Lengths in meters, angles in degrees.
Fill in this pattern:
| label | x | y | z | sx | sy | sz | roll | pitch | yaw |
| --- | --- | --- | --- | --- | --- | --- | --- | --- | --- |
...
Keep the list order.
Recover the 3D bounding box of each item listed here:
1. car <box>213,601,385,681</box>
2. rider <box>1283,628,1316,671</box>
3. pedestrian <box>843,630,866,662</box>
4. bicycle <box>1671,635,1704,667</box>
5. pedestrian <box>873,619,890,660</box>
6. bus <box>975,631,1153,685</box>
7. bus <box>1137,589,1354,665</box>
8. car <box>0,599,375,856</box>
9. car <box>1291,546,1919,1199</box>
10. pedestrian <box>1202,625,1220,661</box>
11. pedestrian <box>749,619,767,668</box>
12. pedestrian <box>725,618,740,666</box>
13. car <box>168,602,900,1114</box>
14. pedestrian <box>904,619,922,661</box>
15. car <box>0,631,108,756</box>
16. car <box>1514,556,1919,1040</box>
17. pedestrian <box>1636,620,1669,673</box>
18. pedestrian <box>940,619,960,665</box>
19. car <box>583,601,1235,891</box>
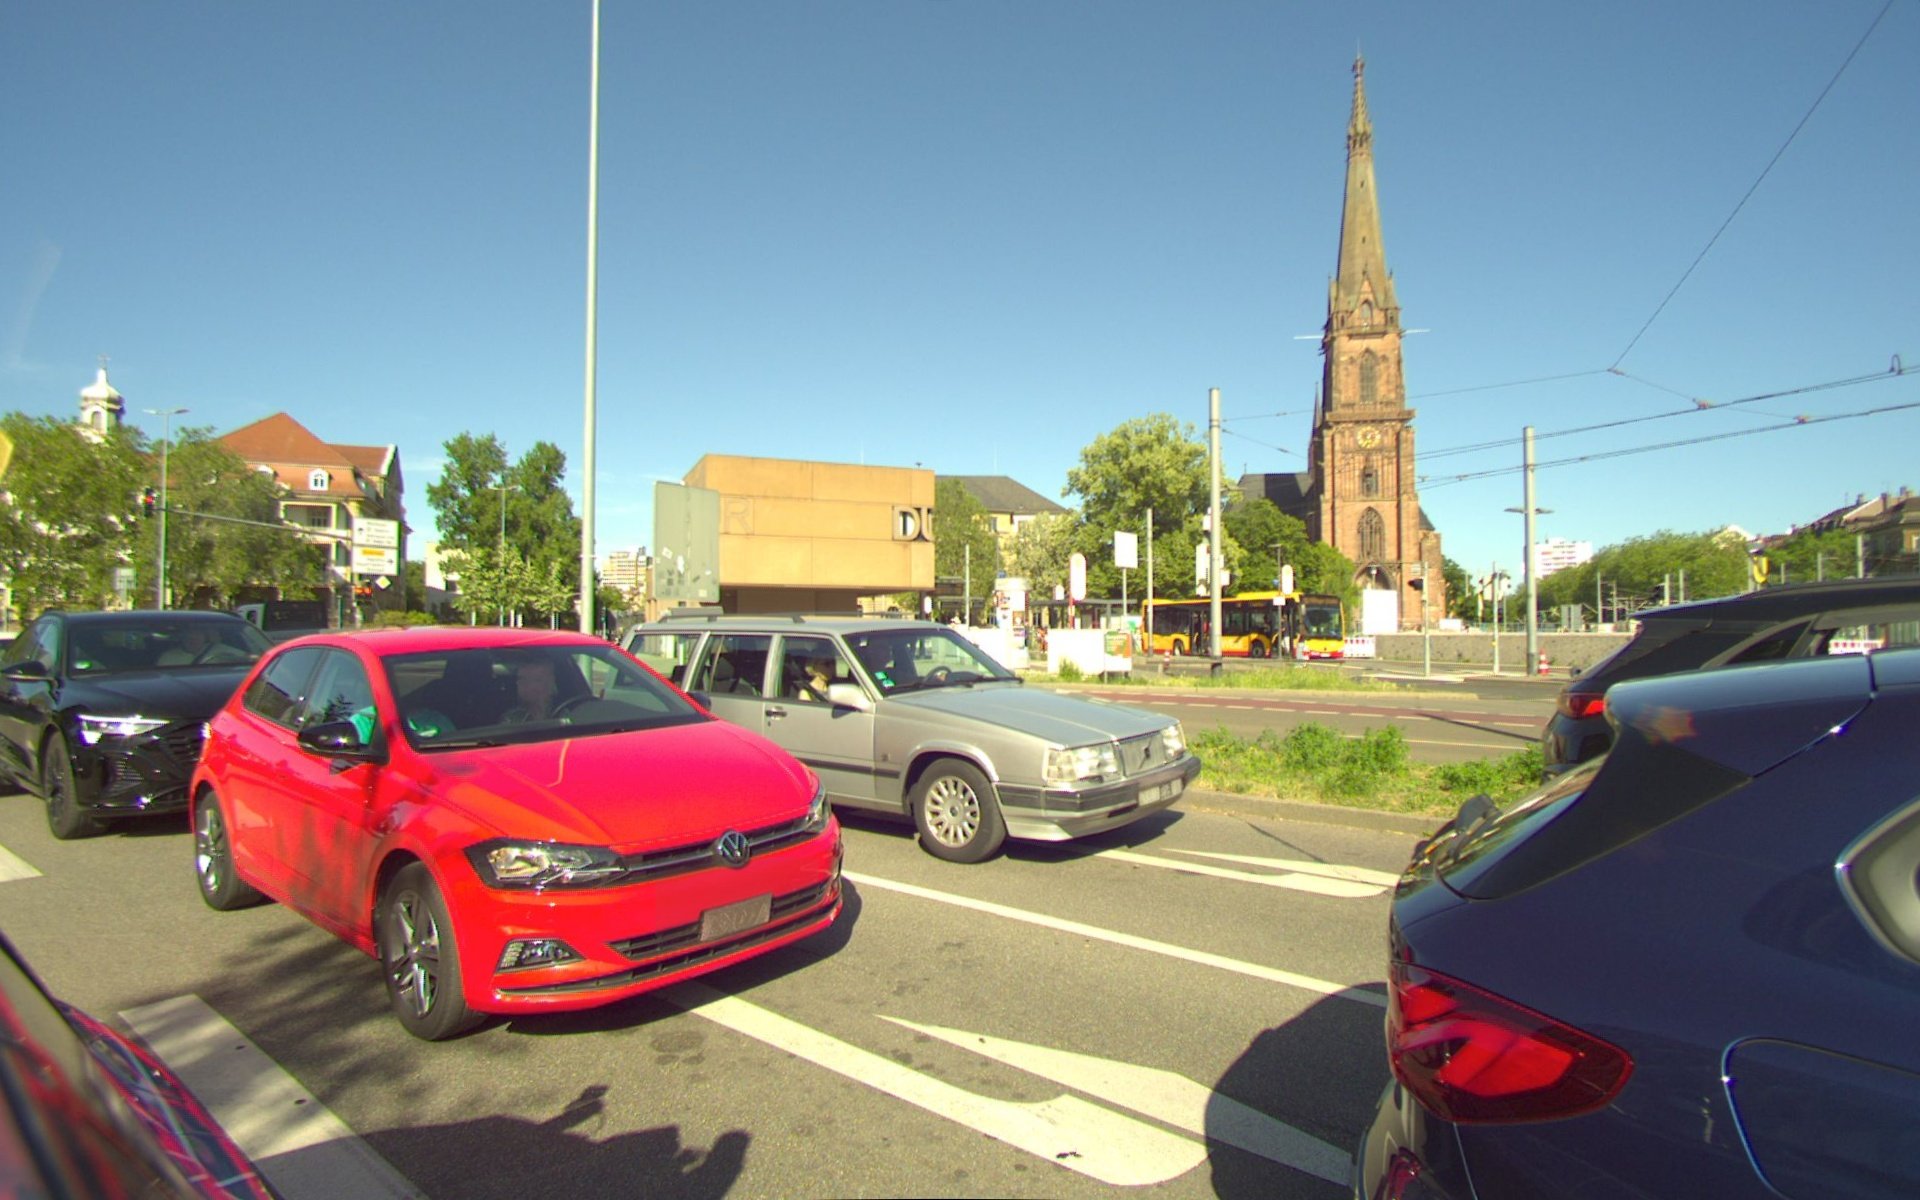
| label | x | y | z | sx | sy | sz | roll | pitch | yaw |
| --- | --- | --- | --- | --- | --- | --- | --- | --- | --- |
| car | -20.962 | 1.258 | 32.012 | 6.191 | 2.331 | 2.094 | -1 | -1 | 31 |
| rider | 11.737 | 1.693 | 35.004 | 0.659 | 1.475 | 0.863 | 1 | -2 | -39 |
| pedestrian | -4.416 | 1.908 | 42.326 | 0.635 | 1.320 | 0.764 | 1 | -2 | -40 |
| bicycle | 27.721 | 1.931 | 38.564 | 1.232 | 1.182 | 0.471 | 1 | -2 | -26 |
| pedestrian | -3.536 | 1.774 | 45.415 | 0.468 | 1.789 | 0.638 | -2 | -2 | 36 |
| bus | 2.540 | 1.404 | 25.201 | 4.174 | 1.251 | 1.627 | -2 | -2 | 35 |
| bus | 12.767 | 1.304 | 47.207 | 2.715 | 3.088 | 12.201 | 1 | -2 | -23 |
| car | -6.874 | 0.876 | 8.519 | 4.447 | 1.628 | 1.836 | -2 | -2 | 38 |
| car | 2.488 | 0.648 | 0.572 | 4.032 | 1.456 | 1.692 | -2 | -1 | 43 |
| pedestrian | 10.968 | 1.867 | 44.228 | 0.561 | 1.525 | 0.529 | -1 | -1 | -9 |
| pedestrian | -7.436 | 1.585 | 37.262 | 0.635 | 1.789 | 0.618 | 0 | -2 | -7 |
| pedestrian | -8.521 | 1.566 | 37.872 | 0.460 | 1.789 | 0.648 | 0 | -2 | -21 |
| car | -2.258 | 0.794 | 4.833 | 3.850 | 1.484 | 1.653 | -2 | -1 | 40 |
| pedestrian | -2.048 | 1.749 | 44.239 | 0.468 | 1.789 | 0.638 | -2 | -2 | 36 |
| car | -12.580 | 1.149 | 13.048 | 3.704 | 1.429 | 1.557 | -2 | -1 | 35 |
| car | 4.245 | 0.609 | 3.237 | 4.010 | 1.529 | 1.738 | -2 | -2 | 44 |
| pedestrian | 24.901 | 1.671 | 36.400 | 0.882 | 1.869 | 0.679 | -2 | -3 | 41 |
| pedestrian | -0.387 | 1.662 | 40.108 | 0.634 | 1.789 | 0.470 | 1 | -2 | -29 |
| car | -0.621 | 0.794 | 7.308 | 4.744 | 1.484 | 1.693 | -1 | -1 | 37 |
